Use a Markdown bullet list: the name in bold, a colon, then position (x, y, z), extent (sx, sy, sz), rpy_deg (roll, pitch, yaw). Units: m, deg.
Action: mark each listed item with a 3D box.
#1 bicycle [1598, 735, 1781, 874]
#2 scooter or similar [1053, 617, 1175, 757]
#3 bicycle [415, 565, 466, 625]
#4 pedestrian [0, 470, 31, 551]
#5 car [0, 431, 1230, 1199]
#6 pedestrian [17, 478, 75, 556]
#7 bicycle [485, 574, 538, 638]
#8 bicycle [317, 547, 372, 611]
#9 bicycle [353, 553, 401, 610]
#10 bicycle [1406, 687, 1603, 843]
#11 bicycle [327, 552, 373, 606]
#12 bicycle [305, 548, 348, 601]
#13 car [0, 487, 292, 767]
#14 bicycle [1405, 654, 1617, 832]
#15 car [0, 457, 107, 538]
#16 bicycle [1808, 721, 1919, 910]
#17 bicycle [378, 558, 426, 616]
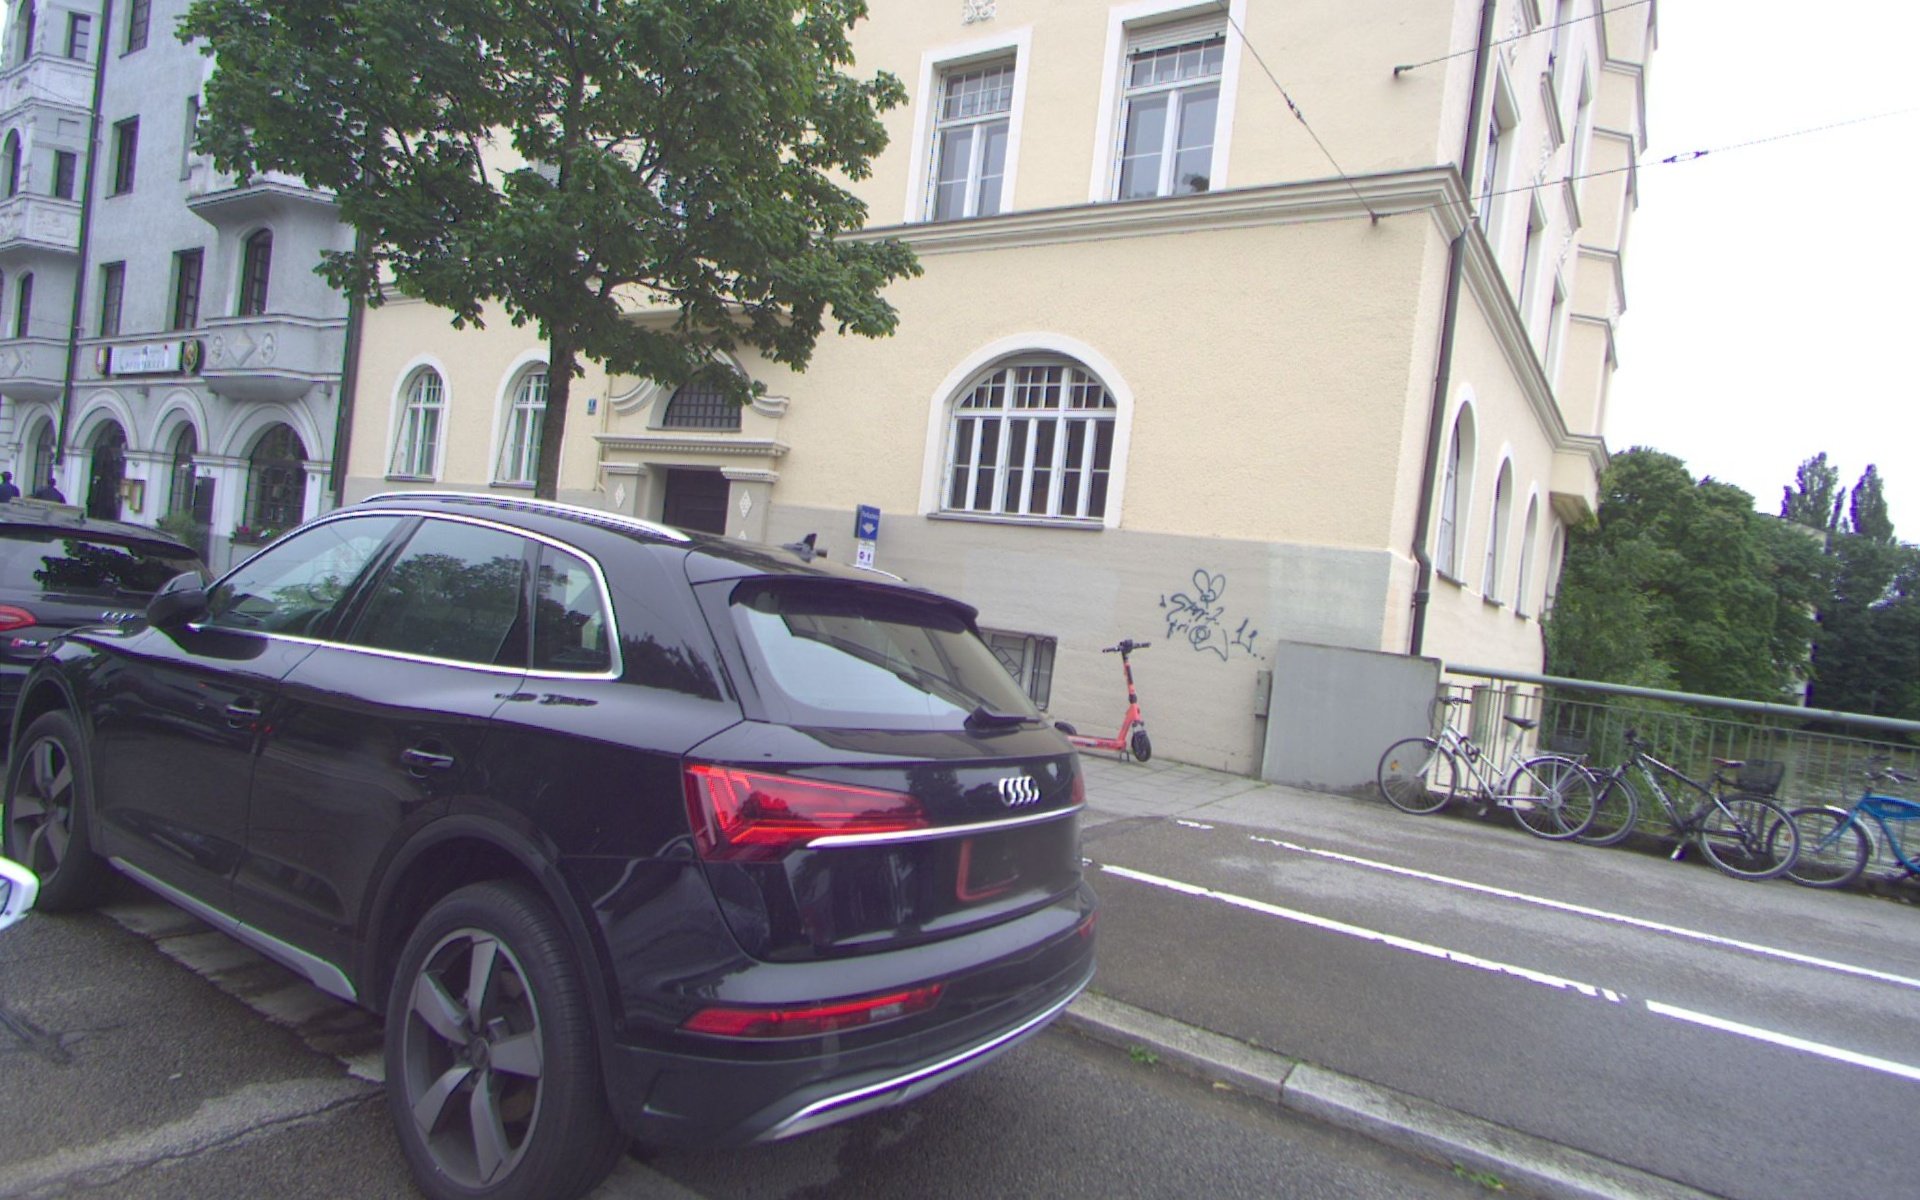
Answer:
- **bicycle**: position (5.935, 1.655, 8.217), extent (1.122, 0.948, 0.249), rpy_deg (6, 3, 10)
- **scooter or similar**: position (1.627, 0.904, 10.676), extent (1.123, 1.328, 0.261), rpy_deg (7, -1, 32)
- **bicycle**: position (-8.939, -0.092, 17.309), extent (0.871, 0.941, 0.285), rpy_deg (7, -1, 33)
- **pedestrian**: position (-22.907, -2.163, 23.998), extent (0.855, 1.838, 0.706), rpy_deg (7, -1, 32)
- **car**: position (-1.559, 0.445, 3.594), extent (4.414, 1.677, 1.777), rpy_deg (6, -1, 32)
- **pedestrian**: position (-22.386, -2.034, 24.642), extent (0.829, 1.752, 0.706), rpy_deg (7, -1, 32)
- **bicycle**: position (-7.295, 0.090, 16.347), extent (0.871, 0.941, 0.222), rpy_deg (7, -1, 31)
- **bicycle**: position (-11.302, -0.388, 18.462), extent (1.203, 1.051, 0.242), rpy_deg (7, -1, 32)
- **bicycle**: position (-10.788, -0.343, 18.605), extent (0.871, 0.941, 0.306), rpy_deg (7, -1, 33)
- **bicycle**: position (4.804, 1.436, 8.956), extent (1.417, 1.119, 0.287), rpy_deg (7, 0, 24)
- **bicycle**: position (-11.587, -0.401, 19.109), extent (0.871, 0.941, 0.291), rpy_deg (7, -1, 33)
- **bicycle**: position (-12.352, -0.500, 19.614), extent (0.871, 0.941, 0.259), rpy_deg (7, -1, 33)
- **car**: position (-6.639, -0.022, 6.752), extent (4.525, 1.443, 1.719), rpy_deg (6, -2, 31)
- **bicycle**: position (4.895, 1.240, 9.004), extent (1.511, 1.327, 0.332), rpy_deg (7, -1, 30)
- **car**: position (-38.118, -4.279, 40.342), extent (2.192, 2.642, 5.310), rpy_deg (7, -2, 29)
- **bicycle**: position (7.278, 1.653, 7.467), extent (1.384, 1.297, 0.283), rpy_deg (7, -1, 20)
- **bicycle**: position (-10.016, -0.236, 18.051), extent (0.871, 0.941, 0.273), rpy_deg (7, -1, 33)
